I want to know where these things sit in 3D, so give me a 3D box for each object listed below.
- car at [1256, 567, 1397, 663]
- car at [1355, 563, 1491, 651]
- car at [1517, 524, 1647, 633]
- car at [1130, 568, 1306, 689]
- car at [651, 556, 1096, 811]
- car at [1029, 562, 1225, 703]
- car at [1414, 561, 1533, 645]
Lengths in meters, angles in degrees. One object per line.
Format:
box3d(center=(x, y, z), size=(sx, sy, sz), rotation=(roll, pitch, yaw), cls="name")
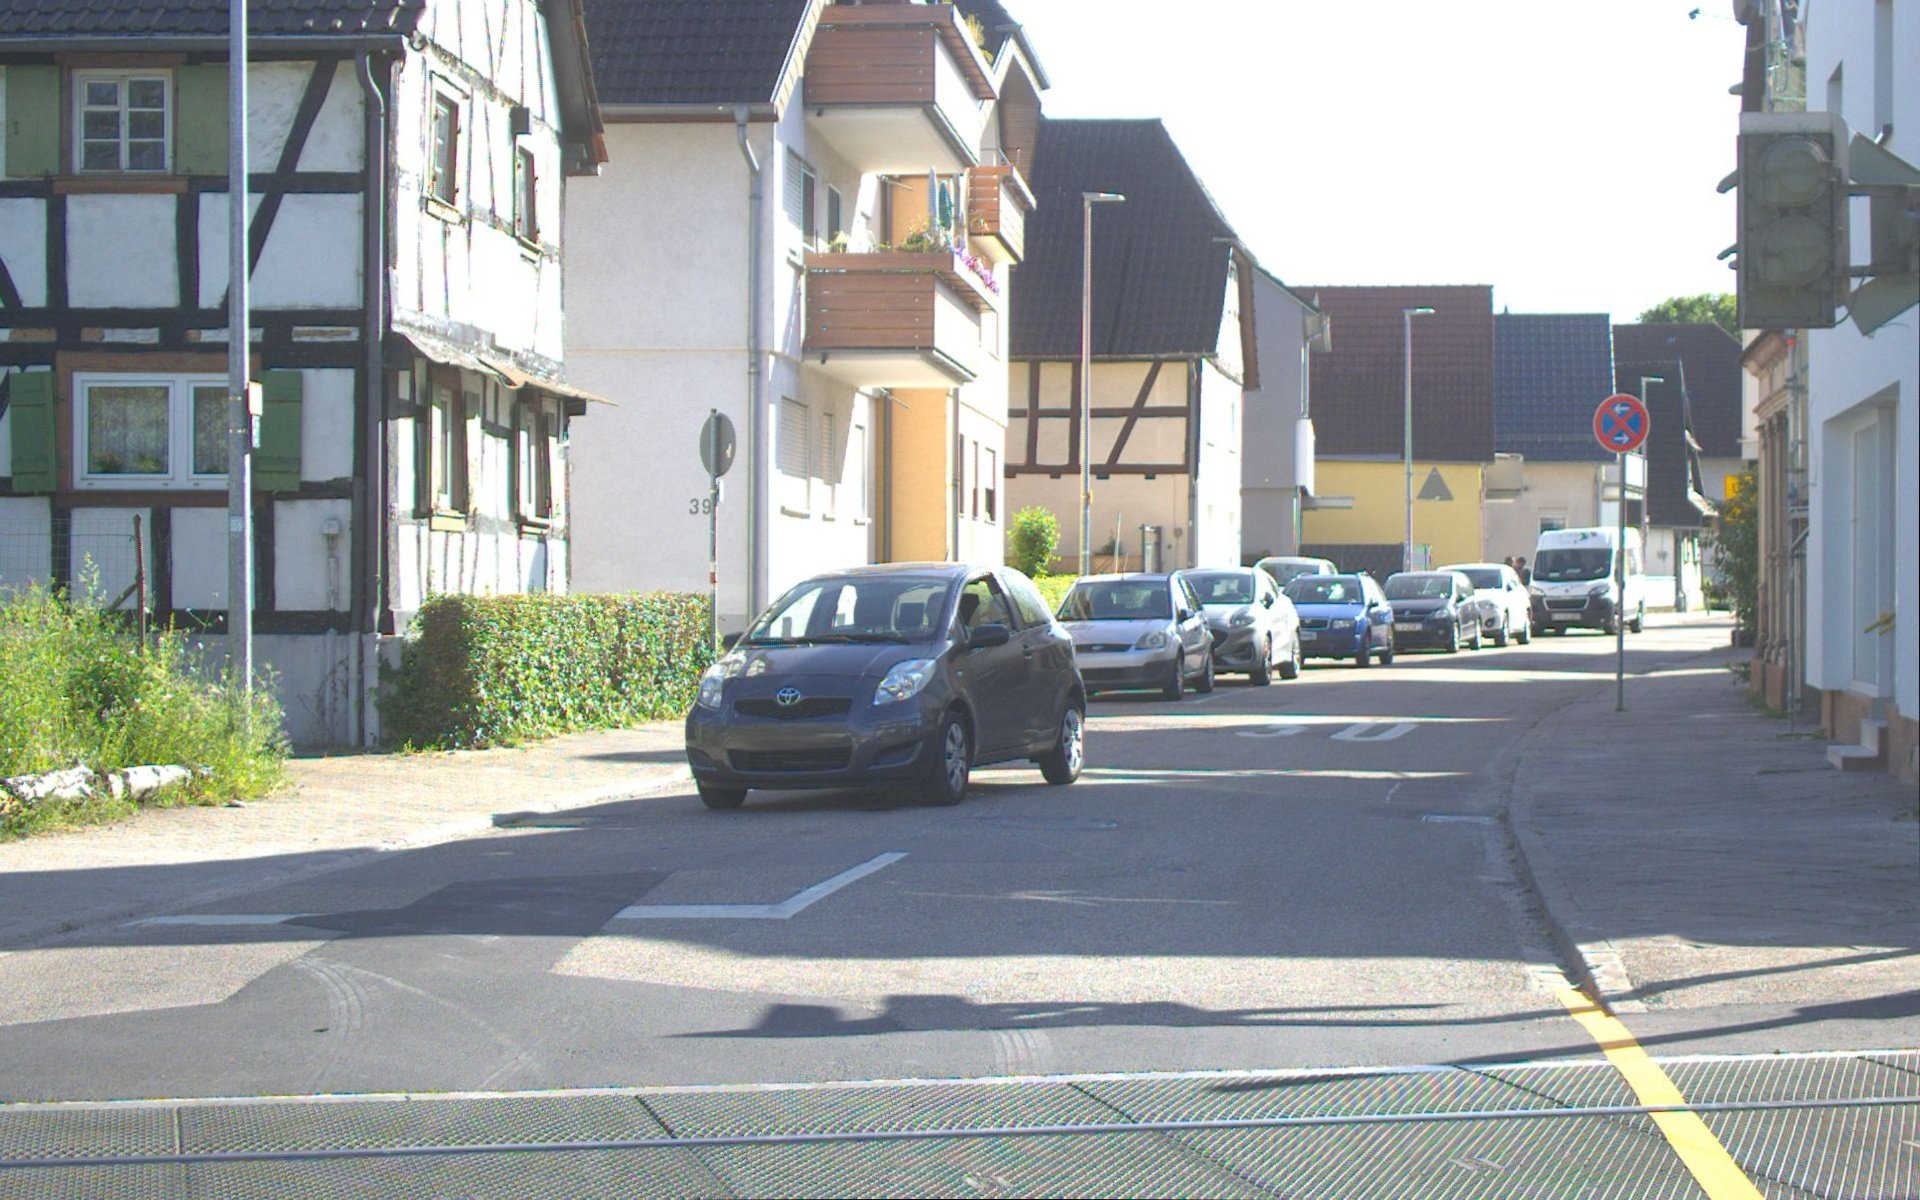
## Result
box3d(center=(5.780, 0.232, 53.863), size=(1.640, 1.436, 4.072), rotation=(-1, 0, 14), cls="car")
box3d(center=(8.518, 0.120, 63.010), size=(1.705, 1.513, 4.118), rotation=(-1, 0, 18), cls="car")
box3d(center=(14.394, -0.486, 79.344), size=(2.079, 2.386, 5.203), rotation=(-1, 0, 20), cls="car")
box3d(center=(3.460, 0.346, 45.463), size=(1.674, 1.501, 4.092), rotation=(-1, 0, 13), cls="car")
box3d(center=(-0.470, 0.508, 22.346), size=(1.687, 1.505, 3.651), rotation=(-1, 0, 19), cls="car")
box3d(center=(2.012, 0.350, 40.386), size=(1.632, 1.501, 3.851), rotation=(-3, 0, 12), cls="car")
box3d(center=(10.076, 0.034, 67.259), size=(1.675, 1.566, 3.962), rotation=(-1, 0, 18), cls="car")
